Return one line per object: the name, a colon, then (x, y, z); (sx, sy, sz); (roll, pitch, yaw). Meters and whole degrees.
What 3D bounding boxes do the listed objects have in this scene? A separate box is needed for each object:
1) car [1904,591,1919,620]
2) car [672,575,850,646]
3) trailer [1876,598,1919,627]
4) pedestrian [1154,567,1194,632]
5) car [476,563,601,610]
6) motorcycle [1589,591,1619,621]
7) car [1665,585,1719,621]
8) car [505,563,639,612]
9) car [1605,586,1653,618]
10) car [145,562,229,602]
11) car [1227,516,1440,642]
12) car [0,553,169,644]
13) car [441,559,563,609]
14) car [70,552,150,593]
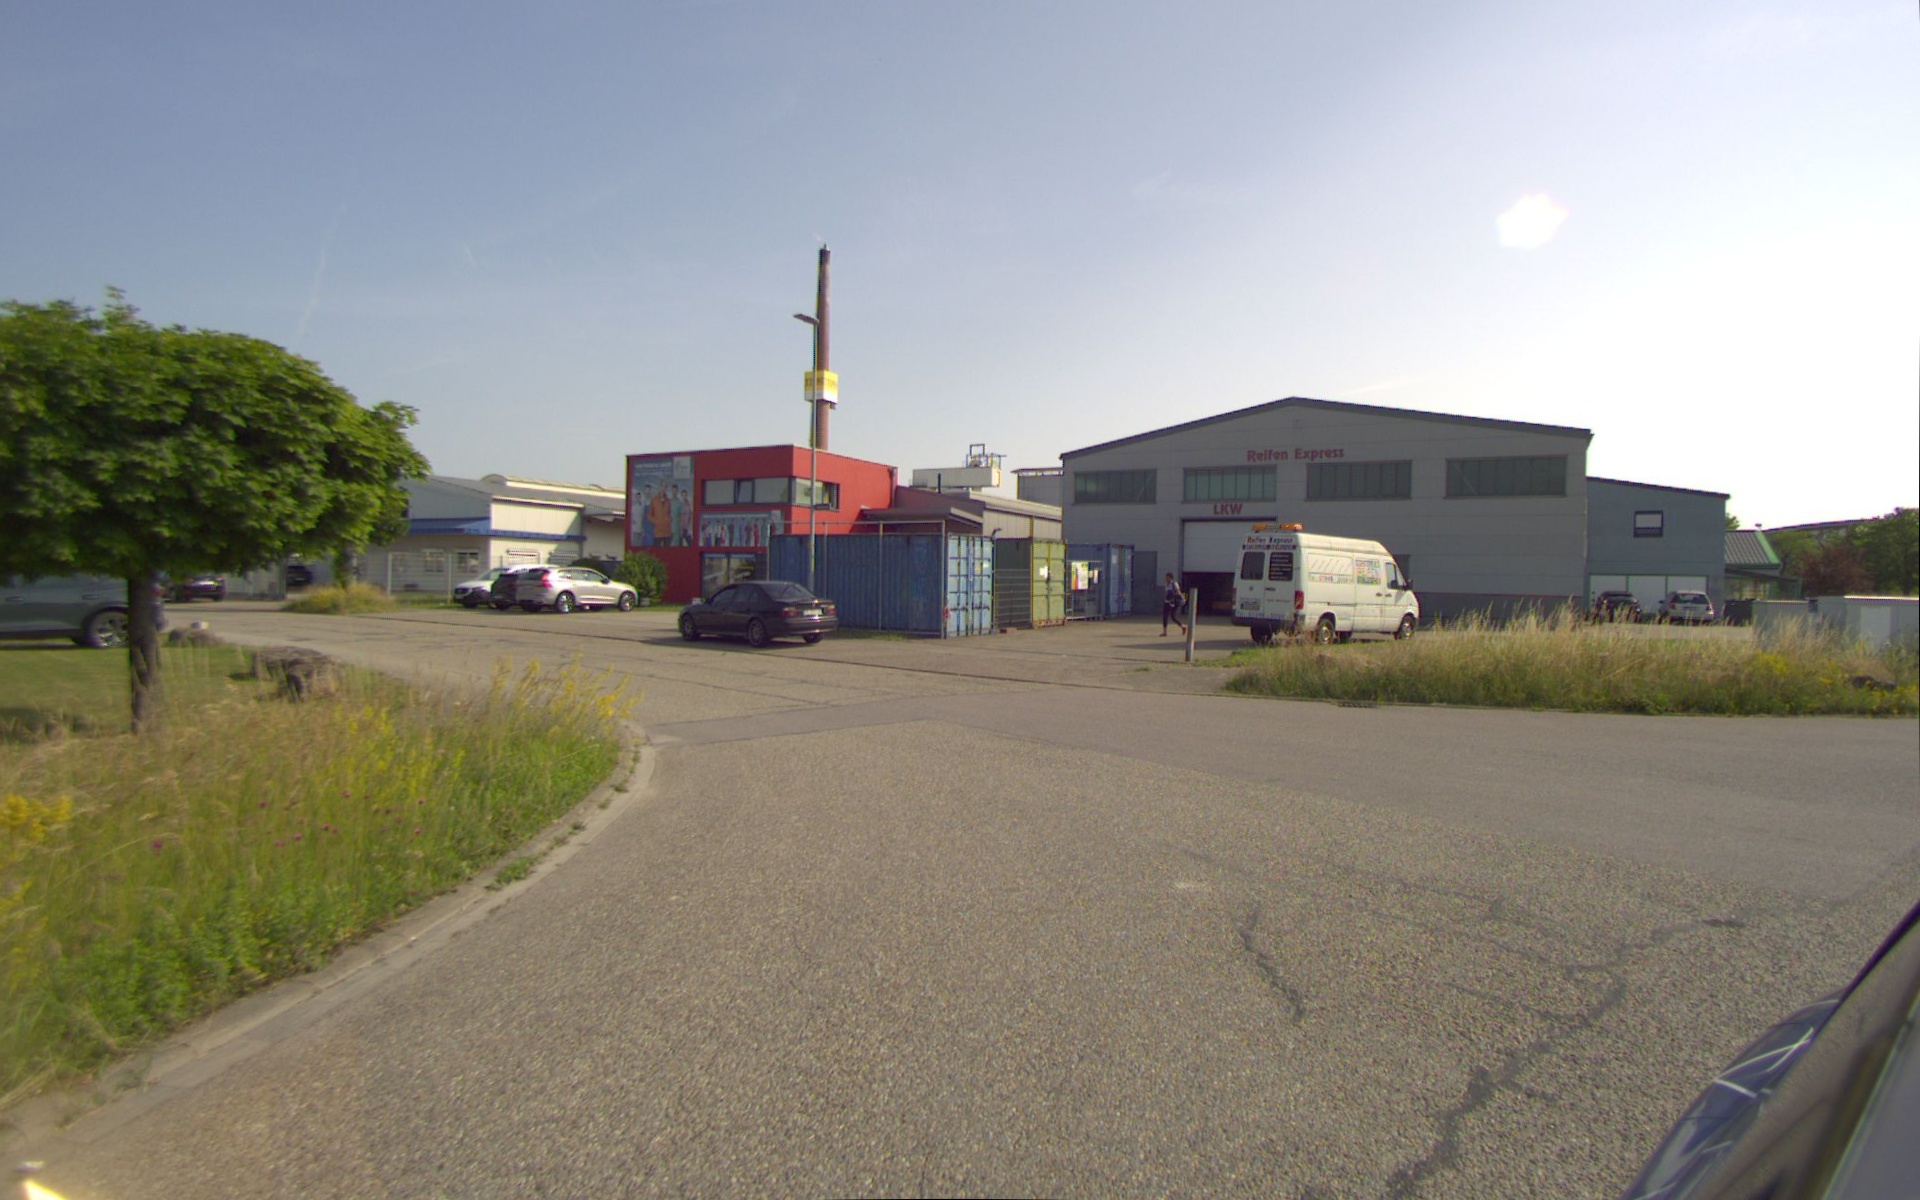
car: (52.462, 0.322, 54.170); (1.705, 1.592, 4.093); (2, 1, 27)
car: (-4.693, 0.165, 23.509); (4.456, 1.426, 1.784); (3, 3, 42)
trailer: (43.470, 0.557, 46.401); (1.481, 1.264, 2.947); (0, 0, 28)
pedestrian: (5.574, -0.020, 26.383); (0.733, 1.660, 0.706); (1, 1, -22)
car: (-15.922, -0.532, 38.417); (1.773, 1.653, 4.160); (2, 2, 32)
motorcycle: (24.926, 0.213, 39.198); (0.796, 1.108, 2.181); (2, 1, 28)
car: (33.999, 0.116, 47.068); (1.626, 1.587, 3.765); (2, 1, 30)
car: (-14.041, -0.463, 36.875); (1.773, 1.653, 4.416); (2, 2, 32)
car: (31.598, 0.063, 47.881); (1.668, 1.420, 3.672); (2, 1, 30)
car: (-32.594, -0.784, 42.680); (3.565, 1.540, 1.812); (3, 2, 34)
car: (9.125, -0.471, 24.463); (5.771, 2.739, 1.980); (0, 1, -37)
car: (-15.887, -0.053, 16.626); (1.778, 1.426, 4.287); (3, 2, 38)
car: (-18.081, -0.636, 40.125); (1.702, 1.819, 4.160); (2, 2, 32)
car: (-38.590, -1.261, 45.924); (3.978, 1.749, 1.973); (2, 1, 37)
